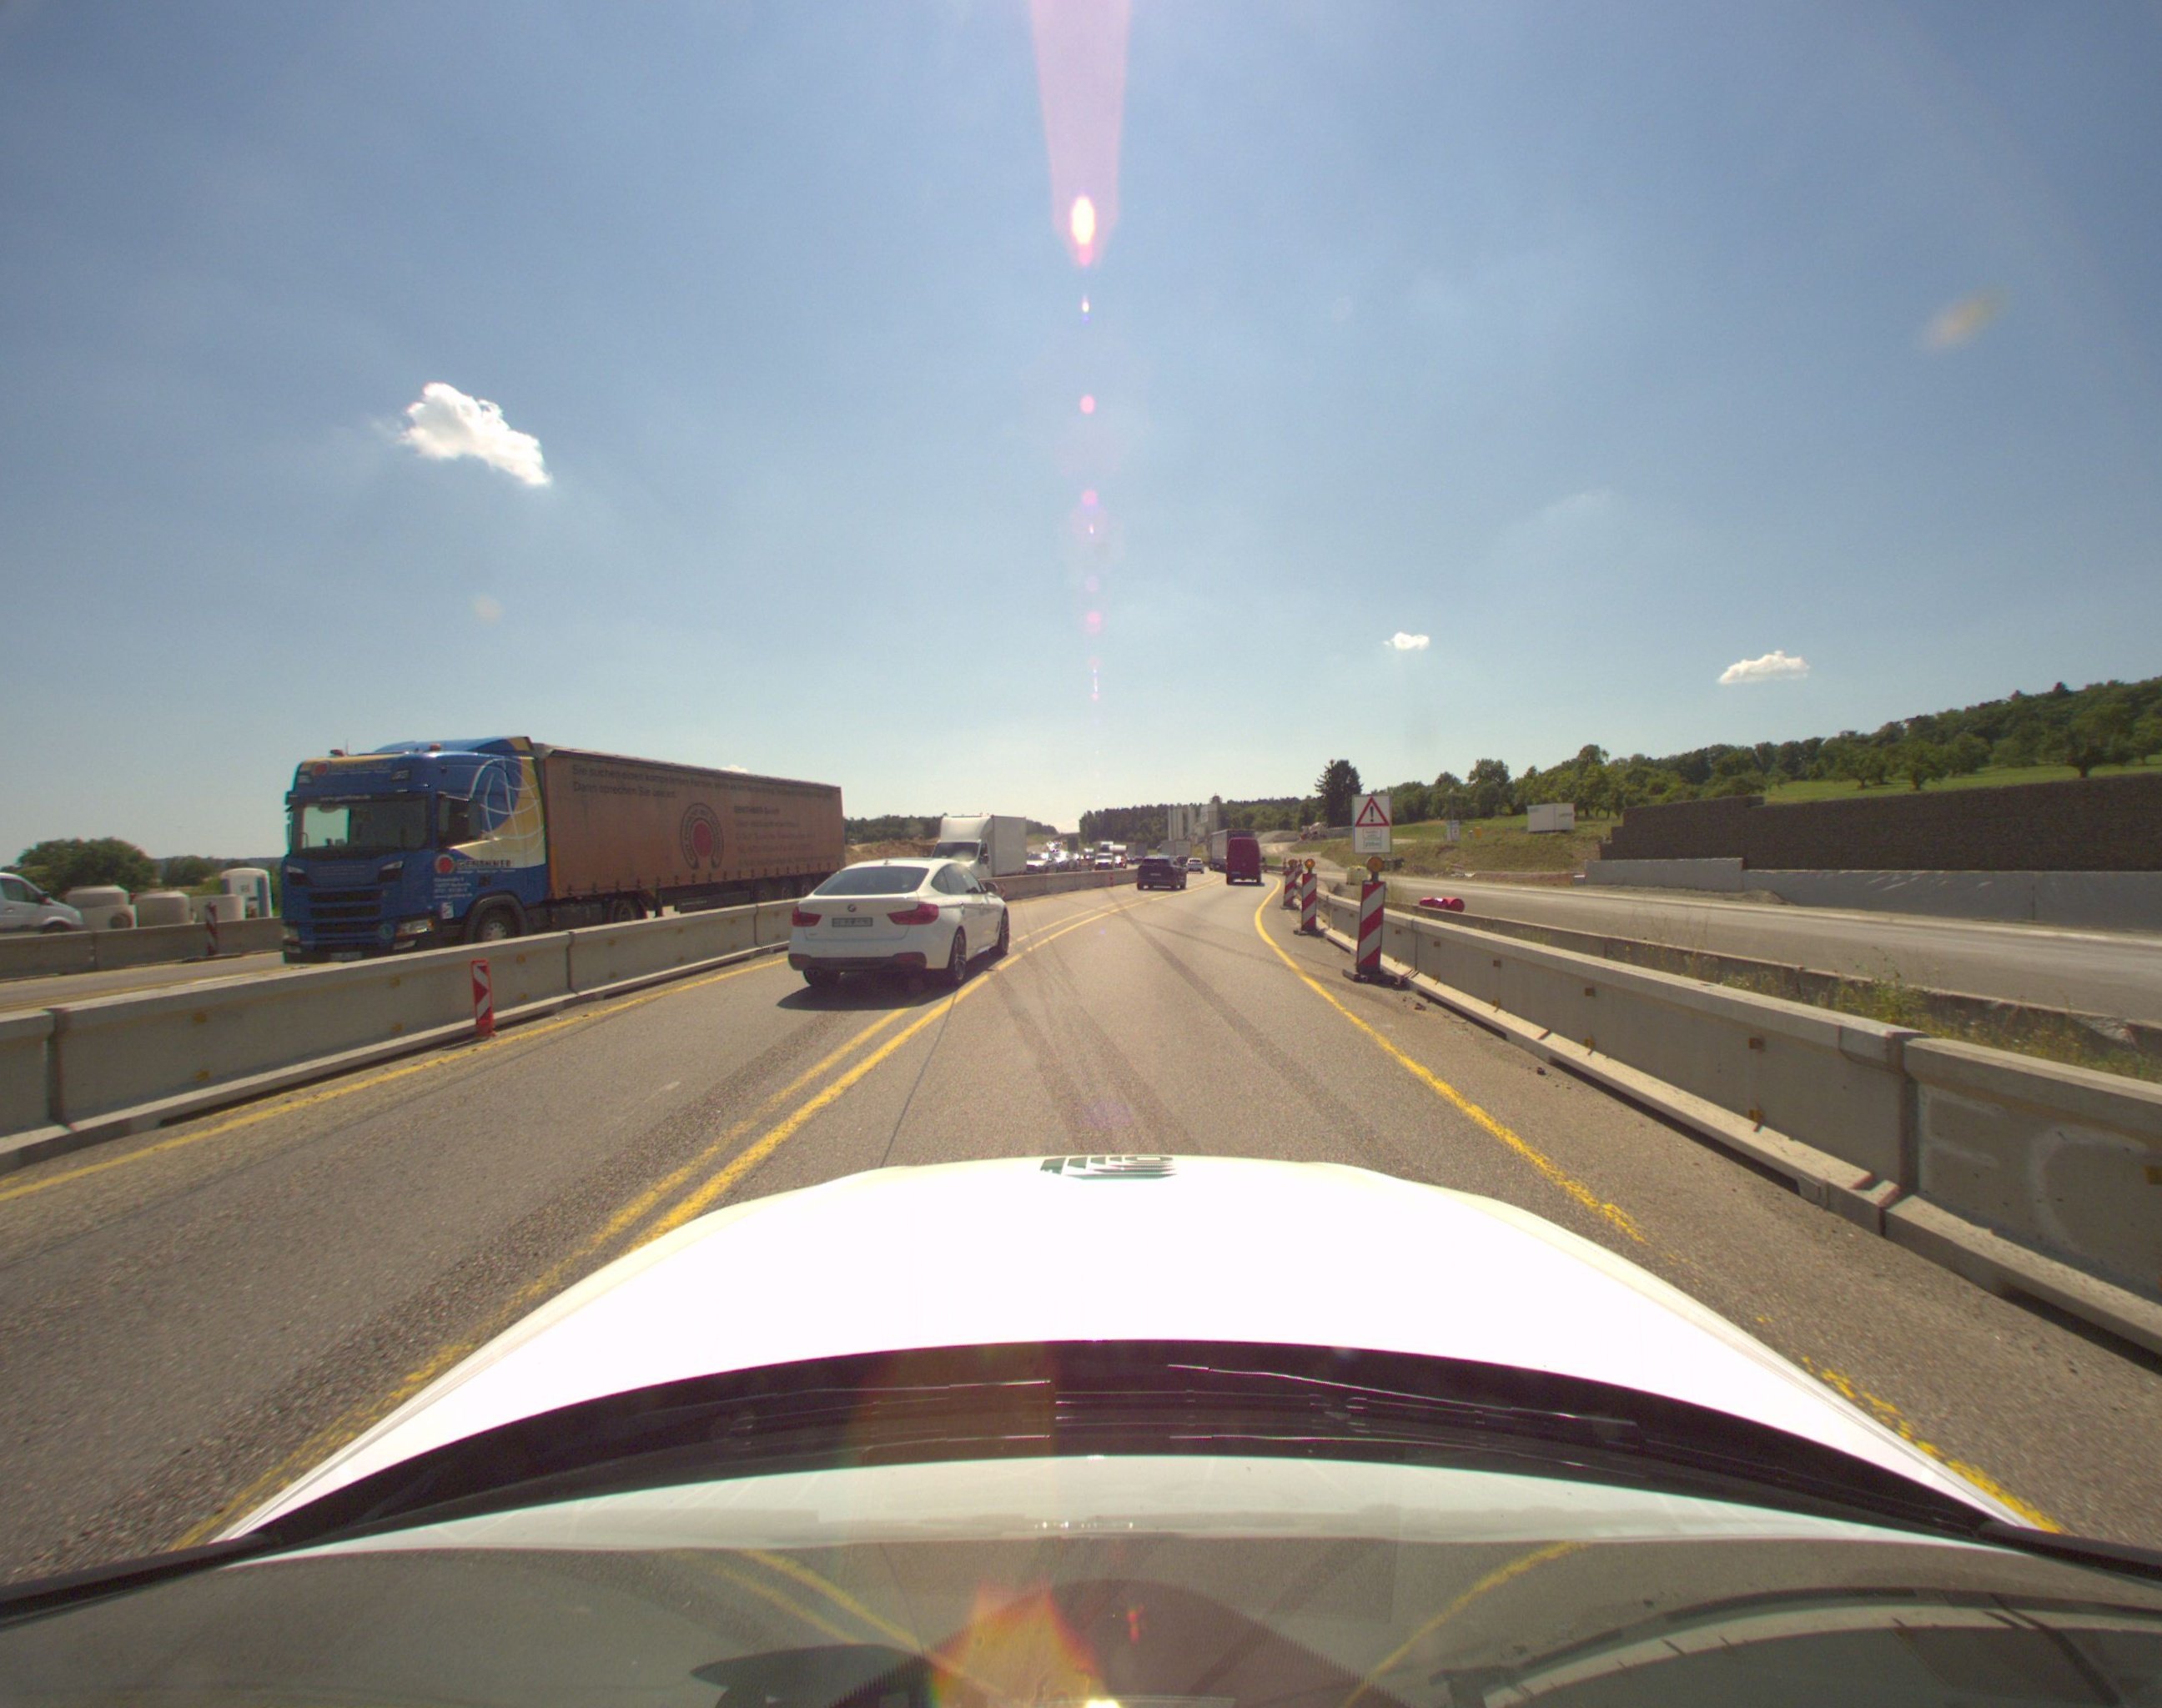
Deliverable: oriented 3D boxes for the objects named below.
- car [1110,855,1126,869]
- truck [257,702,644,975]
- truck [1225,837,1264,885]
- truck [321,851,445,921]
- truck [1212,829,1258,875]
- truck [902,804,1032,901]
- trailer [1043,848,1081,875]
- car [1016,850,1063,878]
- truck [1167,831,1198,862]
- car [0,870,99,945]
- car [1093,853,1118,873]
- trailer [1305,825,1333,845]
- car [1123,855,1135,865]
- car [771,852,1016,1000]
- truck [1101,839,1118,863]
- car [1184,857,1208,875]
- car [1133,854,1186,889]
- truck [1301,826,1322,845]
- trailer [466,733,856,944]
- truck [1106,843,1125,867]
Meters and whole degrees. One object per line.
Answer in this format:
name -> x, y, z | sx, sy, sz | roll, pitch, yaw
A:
car -> 4.448, 0.929, 97.487 | 1.712, 1.627, 4.342 | -1, 0, 5
truck -> -11.058, -0.224, 15.102 | 2.533, 4.080, 5.552 | -1, 0, 4
truck -> 9.801, 0.393, 48.660 | 2.097, 2.633, 6.506 | -1, 0, 12
truck -> -32.582, 1.416, 38.213 | 2.337, 3.043, 4.257 | -1, 0, -5
truck -> 14.867, -0.194, 79.313 | 3.005, 4.153, 8.273 | -1, 0, 1
truck -> -4.253, -0.047, 32.178 | 2.560, 3.381, 6.954 | -1, 0, 14
trailer -> -1.396, 0.553, 62.169 | 1.853, 2.022, 4.451 | -1, 0, 12
car -> -2.807, 0.641, 55.903 | 1.853, 1.806, 4.924 | -3, 0, 13
truck -> 15.844, -1.132, 127.899 | 3.670, 4.691, 9.755 | -1, 0, 1
car -> -30.818, 1.525, 22.164 | 2.202, 2.016, 5.101 | -1, 0, -5
car -> 2.637, 0.925, 85.214 | 1.854, 1.953, 4.906 | -1, 0, 11
trailer -> 49.947, -3.958, 171.067 | 2.758, 4.114, 6.717 | -1, 0, -12
car -> 8.027, 1.060, 135.477 | 1.652, 1.605, 4.404 | -1, 0, 6
car -> -2.160, 0.748, 11.011 | 1.787, 1.534, 5.079 | 0, 0, 4
truck -> 5.134, -0.529, 144.588 | 2.689, 4.062, 5.508 | -1, 0, 4
car -> 10.841, 1.105, 76.999 | 1.795, 1.579, 4.002 | -1, 0, 2
car -> 3.732, 0.783, 38.115 | 1.782, 1.534, 3.947 | -1, 0, 15
truck -> 49.276, -3.944, 174.212 | 2.747, 4.095, 4.083 | -1, 0, -13
trailer -> -10.177, -0.306, 22.670 | 2.573, 4.152, 13.092 | -1, 0, 7
truck -> 4.837, 0.136, 113.785 | 2.433, 3.071, 7.249 | -1, 0, 1
